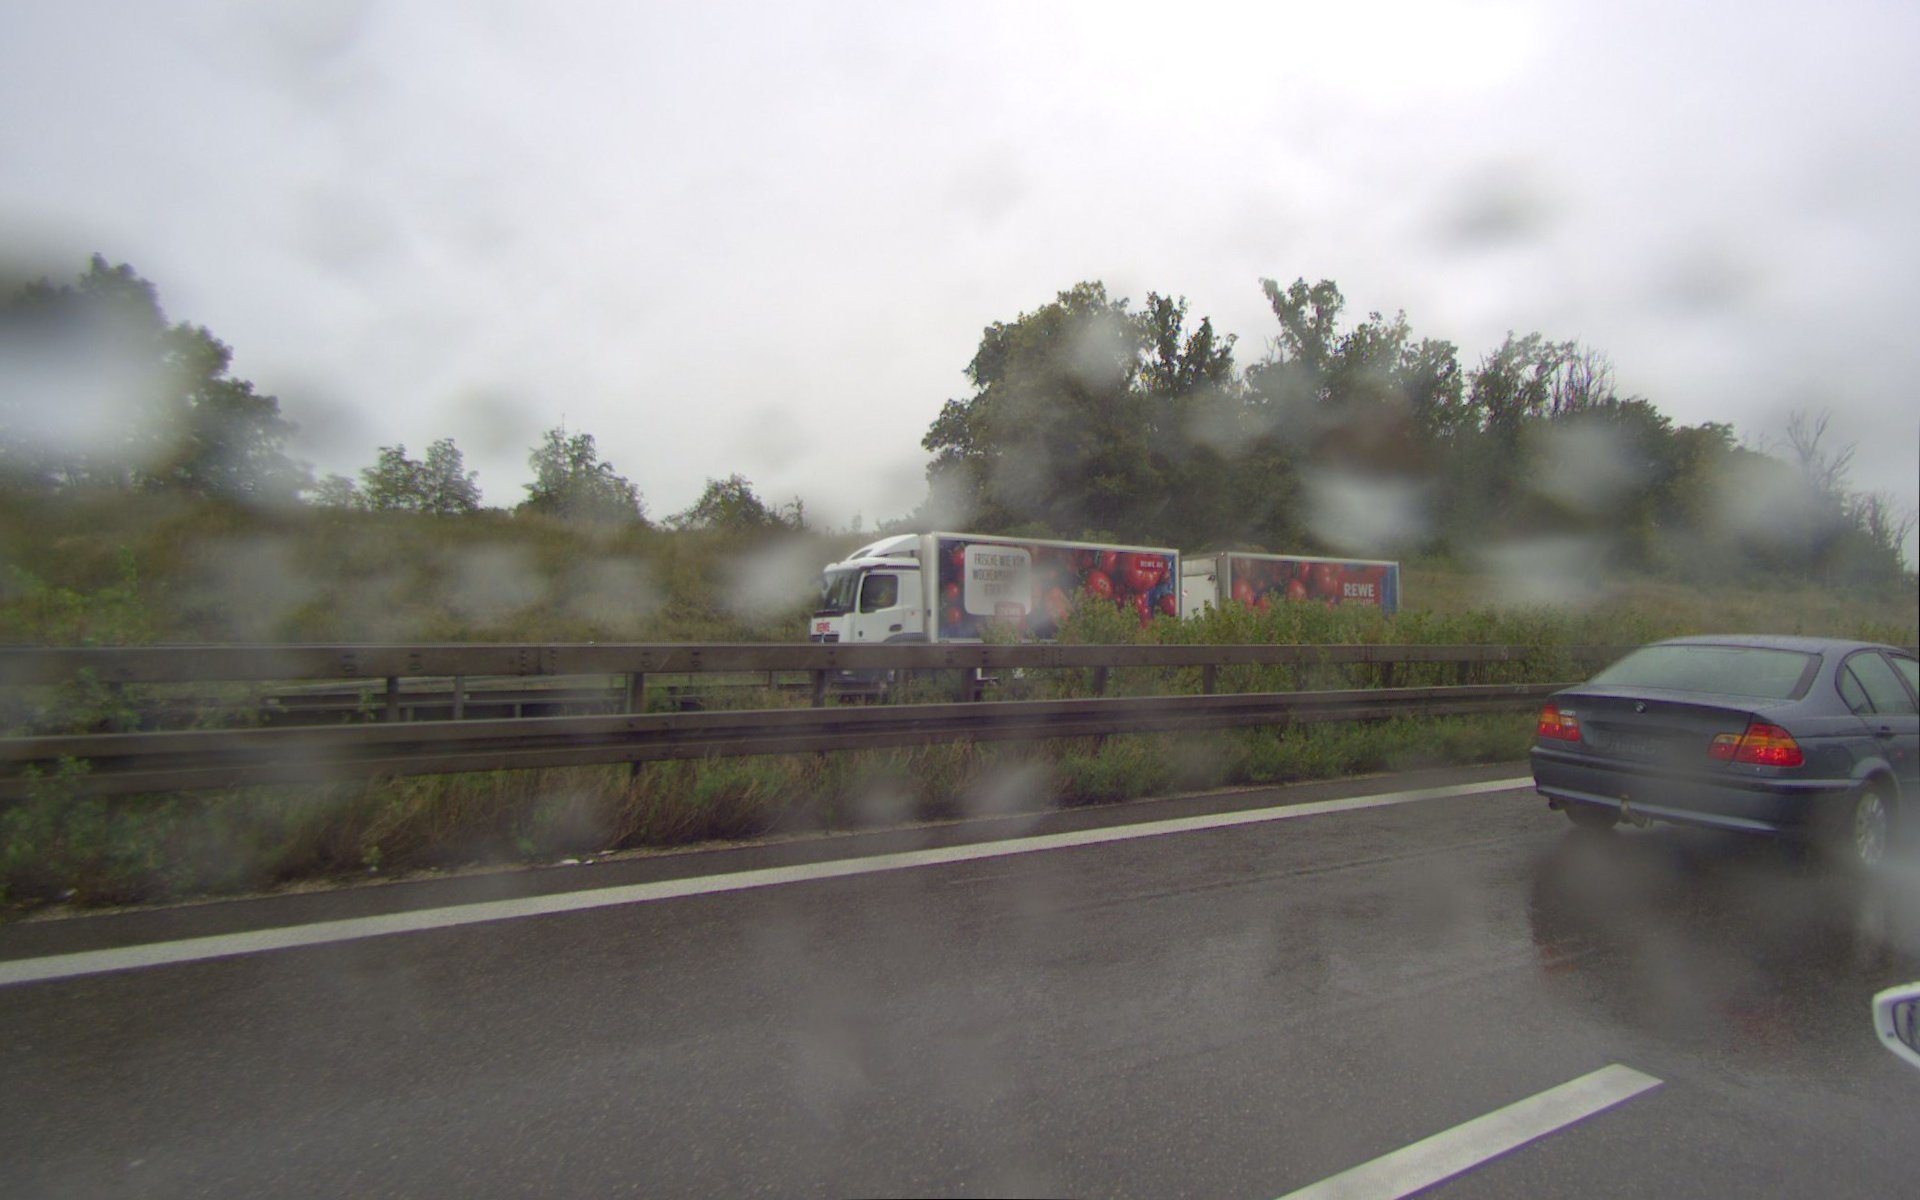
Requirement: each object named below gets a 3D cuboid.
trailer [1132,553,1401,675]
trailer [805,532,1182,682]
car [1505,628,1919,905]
[{"bbox_3d":[8.992,0.438,28.848,8.769,3.123,1.984,1,0,-31],"label":"trailer"},{"bbox_3d":[1.100,0.236,24.132,9.444,3.123,1.984,1,0,-31],"label":"trailer"},{"bbox_3d":[5.937,0.954,7.119,4.180,1.418,1.710,2,-1,-30],"label":"car"}]
